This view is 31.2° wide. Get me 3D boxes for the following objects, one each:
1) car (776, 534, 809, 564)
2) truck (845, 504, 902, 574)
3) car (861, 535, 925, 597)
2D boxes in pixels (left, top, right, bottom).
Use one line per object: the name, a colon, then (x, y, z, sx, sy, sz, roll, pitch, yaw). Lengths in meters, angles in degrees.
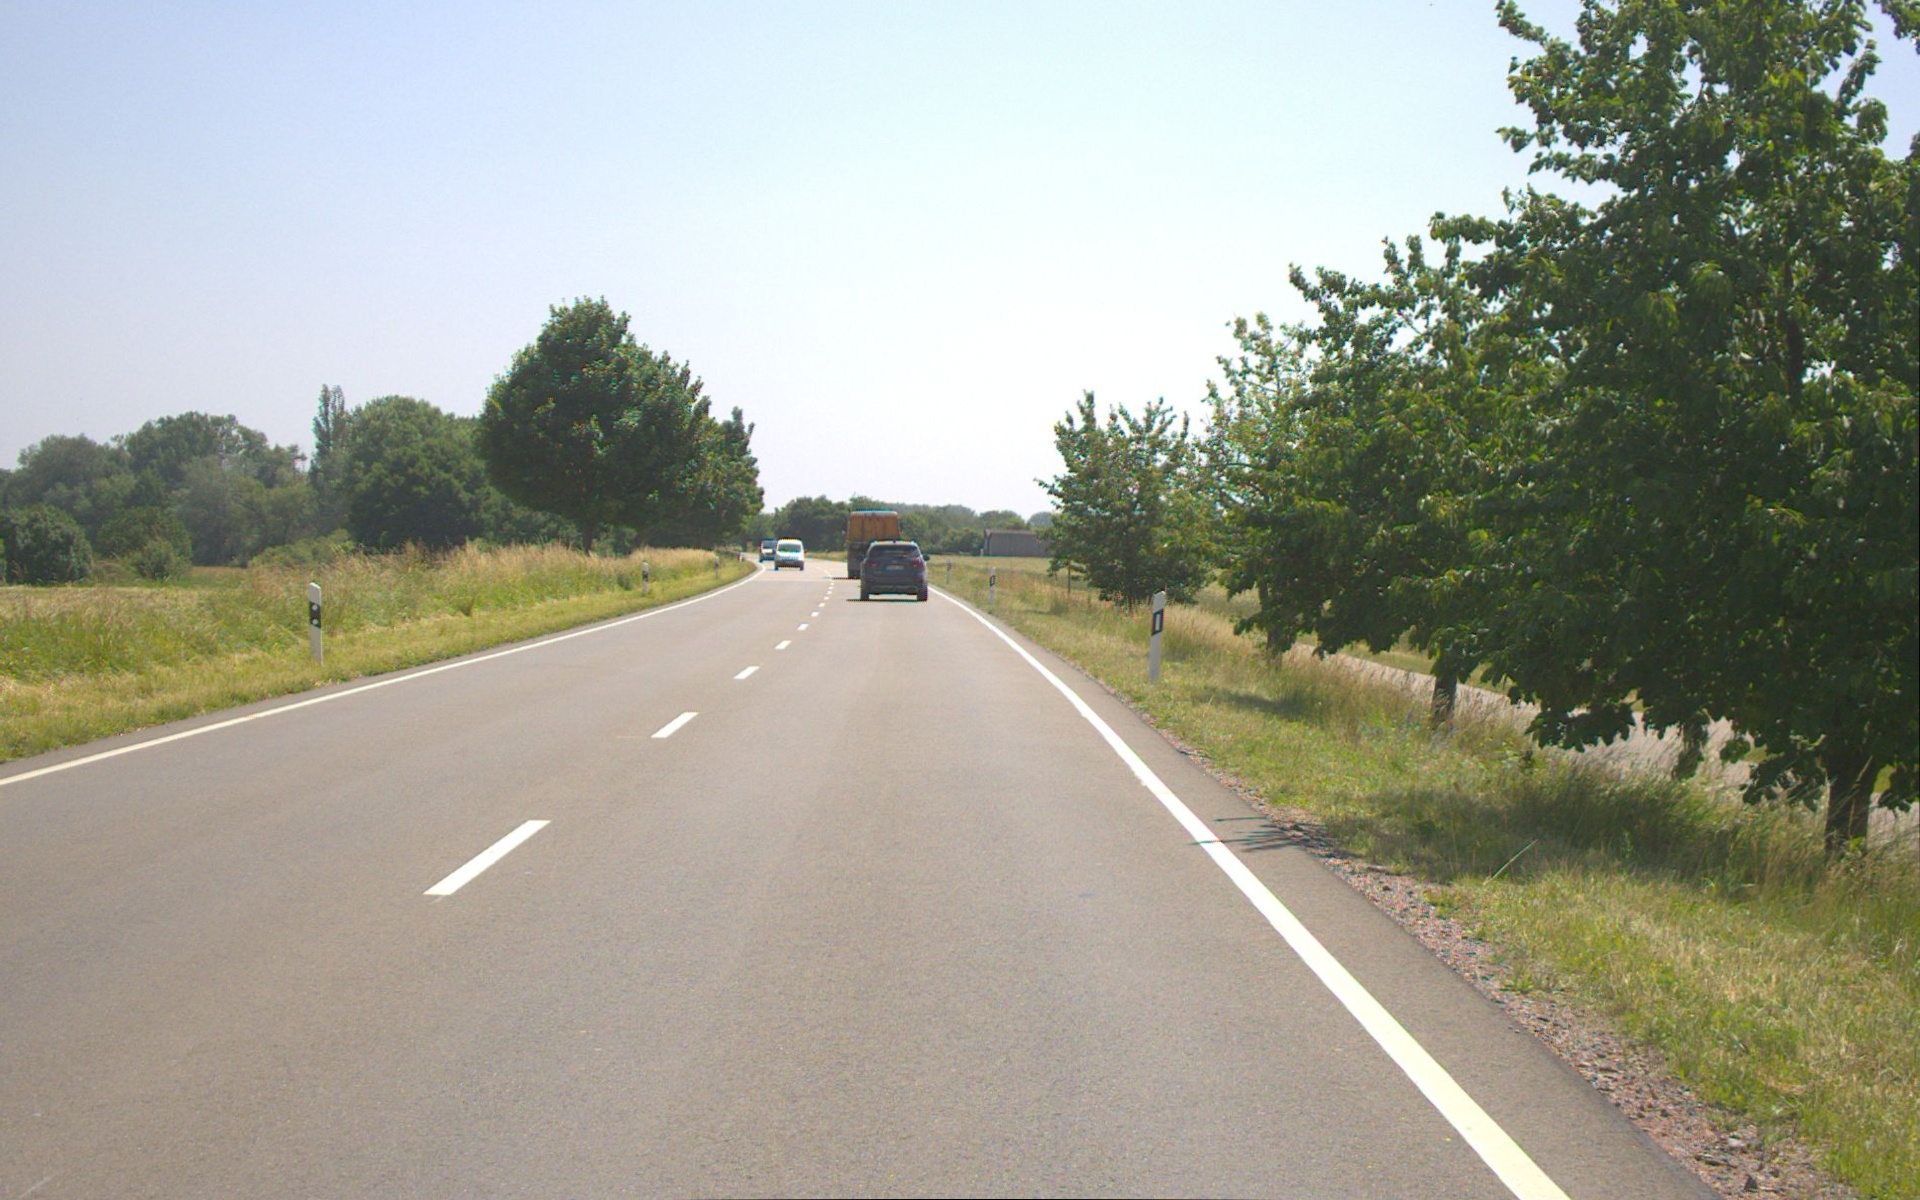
car: (-10.099, -3.063, 207.443, 1.787, 1.722, 4.304, 1, 1, -1)
truck: (-4.064, -2.807, 160.250, 2.370, 3.129, 8.748, 1, 1, -3)
car: (-1.880, -0.971, 97.055, 1.714, 1.688, 3.989, 1, 1, 0)
